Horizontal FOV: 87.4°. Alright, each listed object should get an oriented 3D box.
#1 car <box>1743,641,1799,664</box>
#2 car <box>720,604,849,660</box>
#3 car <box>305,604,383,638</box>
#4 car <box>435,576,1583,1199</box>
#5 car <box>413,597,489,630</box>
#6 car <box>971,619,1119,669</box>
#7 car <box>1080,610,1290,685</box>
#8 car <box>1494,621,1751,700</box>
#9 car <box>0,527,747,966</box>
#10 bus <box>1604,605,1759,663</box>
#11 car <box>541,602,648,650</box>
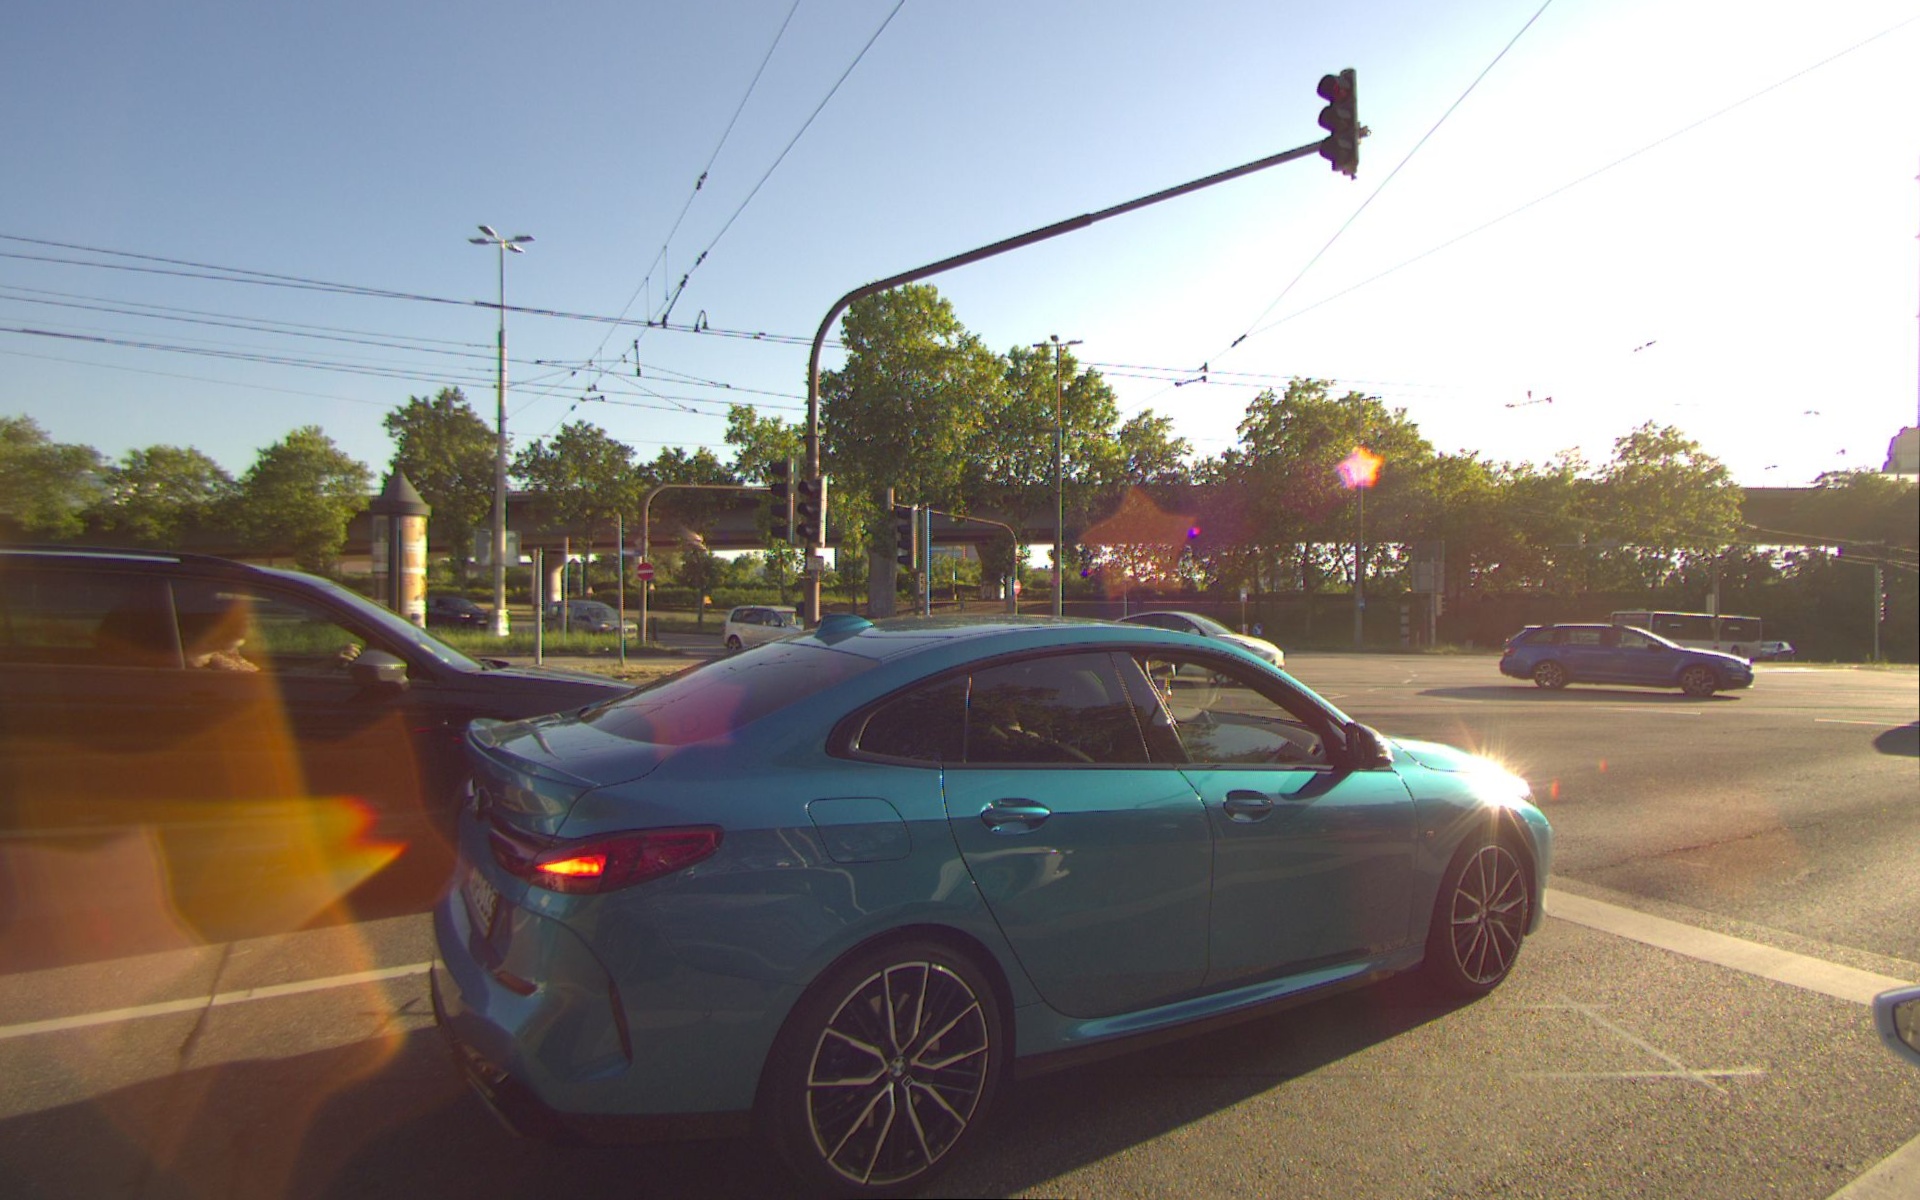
[{"bbox_3d":[55.041,3.545,68.160,3.959,1.438,1.600,1,0,-29],"label":"car"},{"bbox_3d":[-5.749,1.002,32.651,4.218,1.653,1.687,1,0,37],"label":"car"},{"bbox_3d":[-30.184,1.033,49.195,3.867,1.546,1.719,1,0,33],"label":"car"},{"bbox_3d":[0.438,0.748,3.804,4.162,1.485,1.704,1,-1,-33],"label":"car"},{"bbox_3d":[-25.636,0.653,50.570,4.341,1.546,1.618,1,0,36],"label":"car"},{"bbox_3d":[2.634,1.339,31.730,4.419,1.387,1.687,1,-1,37],"label":"car"},{"bbox_3d":[5.354,1.089,24.259,4.694,1.595,1.686,0,-1,39],"label":"car"},{"bbox_3d":[14.399,1.248,21.996,4.555,1.478,1.686,0,-1,40],"label":"car"},{"bbox_3d":[-3.565,0.592,5.038,4.569,1.702,1.805,1,-1,-30],"label":"car"},{"bbox_3d":[45.480,2.223,63.096,12.756,3.171,2.534,3,-2,-28],"label":"bus"},{"bbox_3d":[-14.353,0.985,39.386,4.339,1.701,1.689,1,0,33],"label":"car"}]
